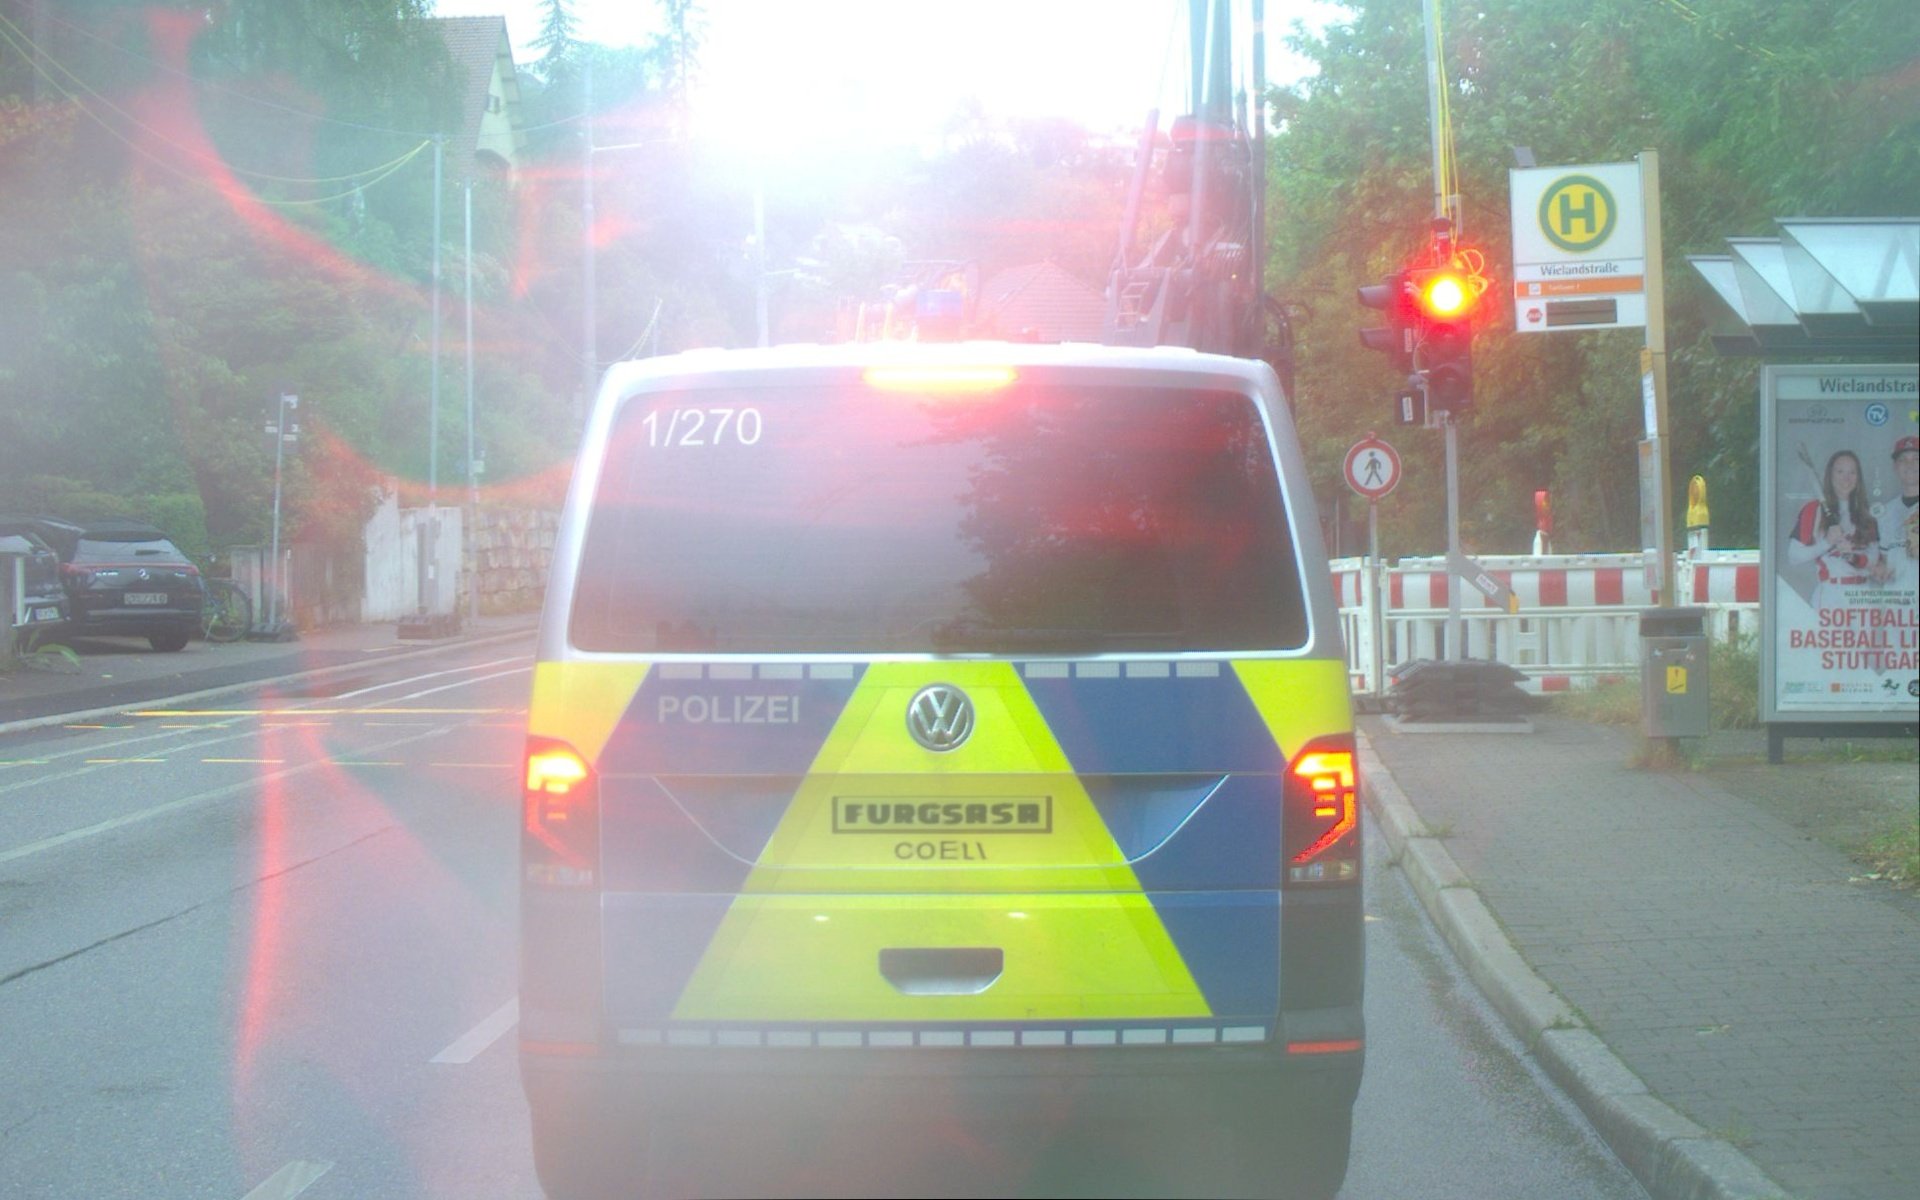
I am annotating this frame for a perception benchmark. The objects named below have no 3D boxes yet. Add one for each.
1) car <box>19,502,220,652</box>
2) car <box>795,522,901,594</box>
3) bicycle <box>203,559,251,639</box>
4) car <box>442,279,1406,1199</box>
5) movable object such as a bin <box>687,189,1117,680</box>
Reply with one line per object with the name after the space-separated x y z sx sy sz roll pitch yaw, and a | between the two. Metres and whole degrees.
-9.327 -0.283 37.982 1.765 1.481 3.743 1 3 -20 | car
-2.432 -0.919 75.947 1.853 1.522 4.819 1 1 4 | car
-8.446 -0.023 39.599 0.462 0.894 1.634 0 1 -15 | bicycle
-0.096 0.356 8.839 1.893 2.043 4.000 1 1 -1 | car
-0.424 -1.463 31.638 2.832 4.163 4.378 1 1 15 | movable object such as a bin
